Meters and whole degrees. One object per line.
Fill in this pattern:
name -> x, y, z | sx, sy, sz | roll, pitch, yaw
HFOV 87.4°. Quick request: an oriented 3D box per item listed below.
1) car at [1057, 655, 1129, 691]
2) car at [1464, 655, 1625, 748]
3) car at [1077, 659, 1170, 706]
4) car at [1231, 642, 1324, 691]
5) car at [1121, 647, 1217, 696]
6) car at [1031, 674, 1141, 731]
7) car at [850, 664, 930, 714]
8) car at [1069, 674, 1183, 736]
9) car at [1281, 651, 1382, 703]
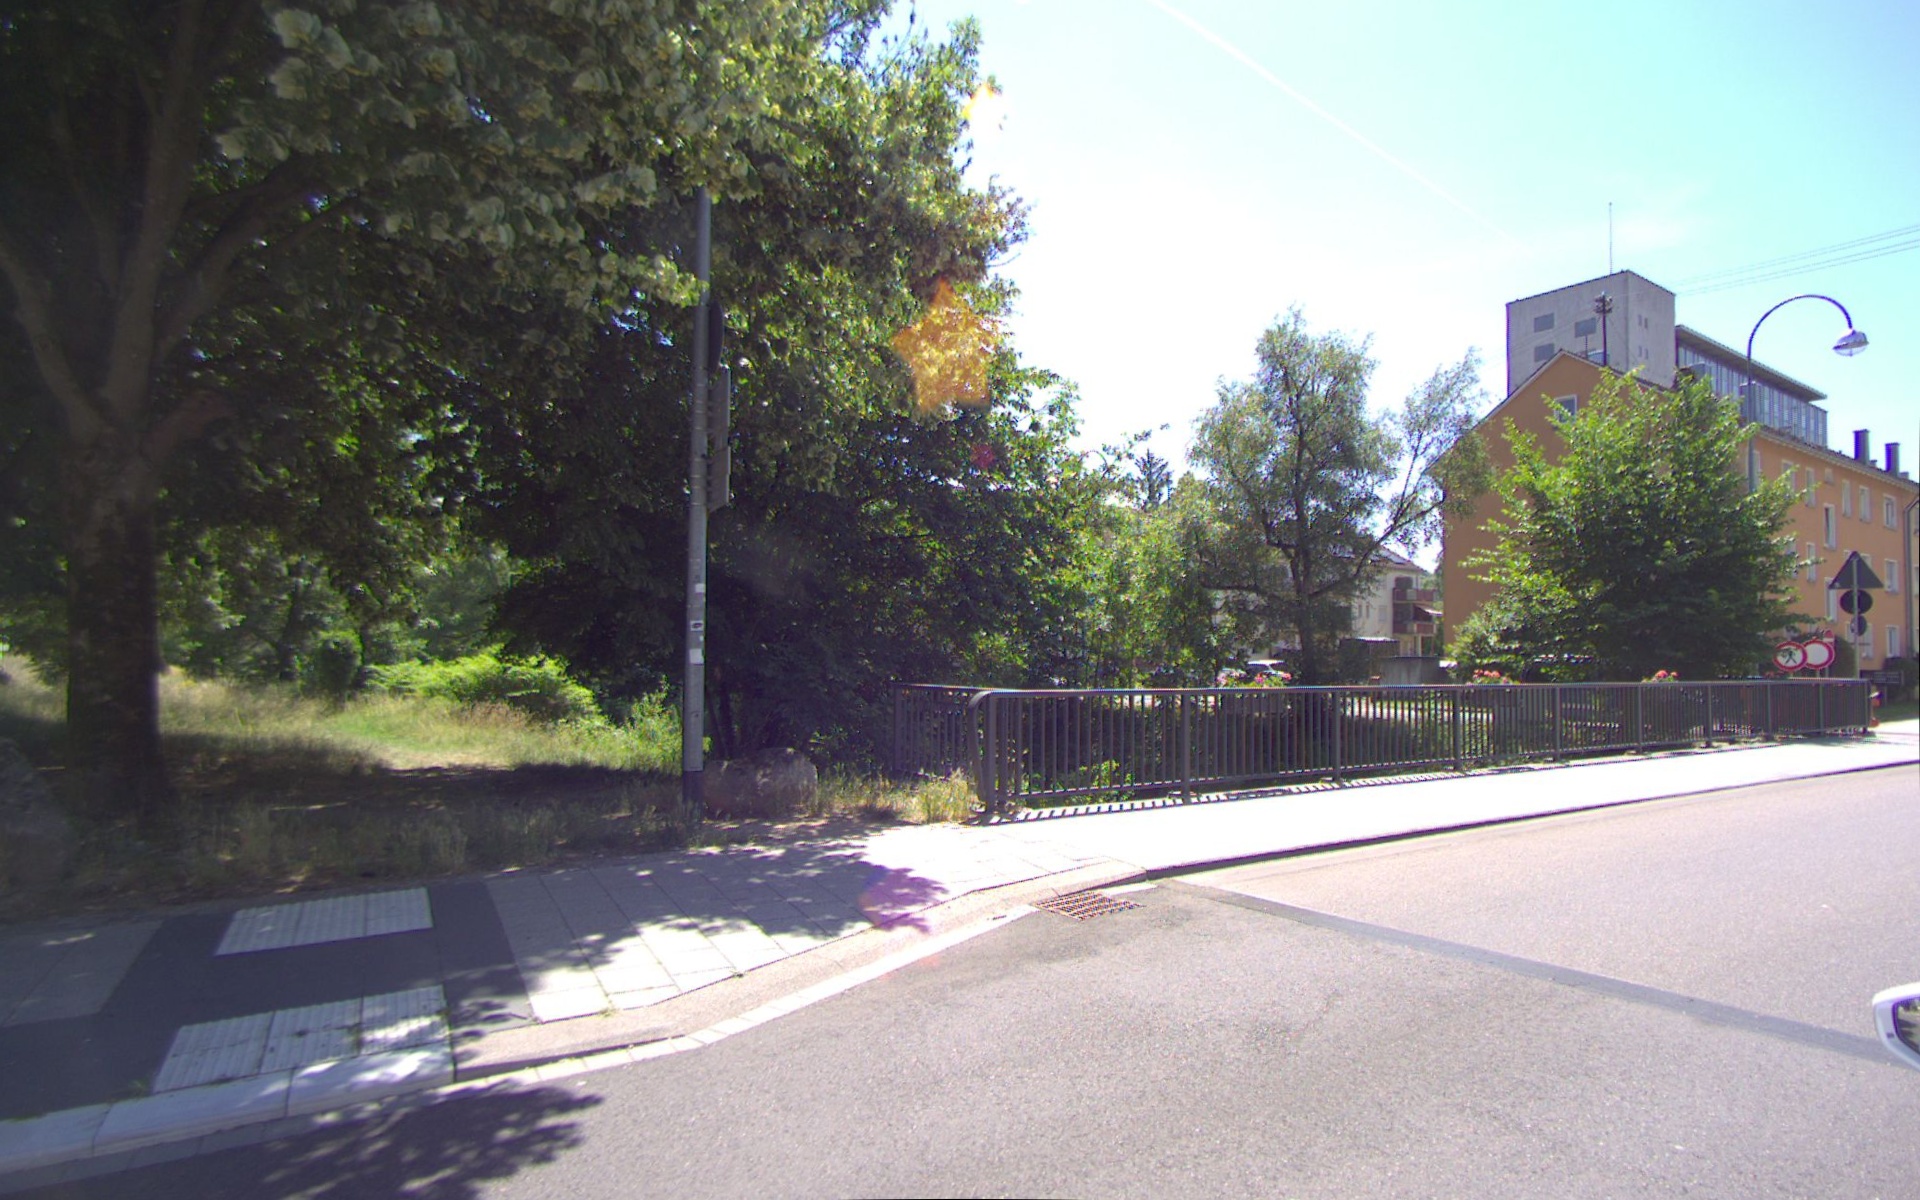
car -> 6.953, 3.763, 52.309 | 1.969, 1.706, 3.984 | -2, -3, 38
car -> 14.404, 2.406, 24.708 | 3.961, 2.040, 1.980 | 1, -3, -36
car -> 7.463, 3.726, 45.865 | 3.960, 2.040, 1.981 | 2, -3, -35
car -> 14.092, 2.934, 44.582 | 3.961, 2.040, 1.980 | 3, -3, -36
car -> 9.185, 3.107, 44.010 | 3.961, 2.040, 1.980 | 3, -3, -36
car -> 4.913, 3.923, 38.955 | 3.962, 2.040, 1.980 | 3, -4, -36
car -> -3.270, 4.016, 46.099 | 1.979, 2.040, 3.963 | 1, -2, -34
car -> 6.137, 3.803, 37.027 | 3.963, 2.040, 1.979 | 2, -3, -37
car -> 15.497, 3.179, 41.893 | 3.956, 2.040, 1.983 | 2, -3, -32
